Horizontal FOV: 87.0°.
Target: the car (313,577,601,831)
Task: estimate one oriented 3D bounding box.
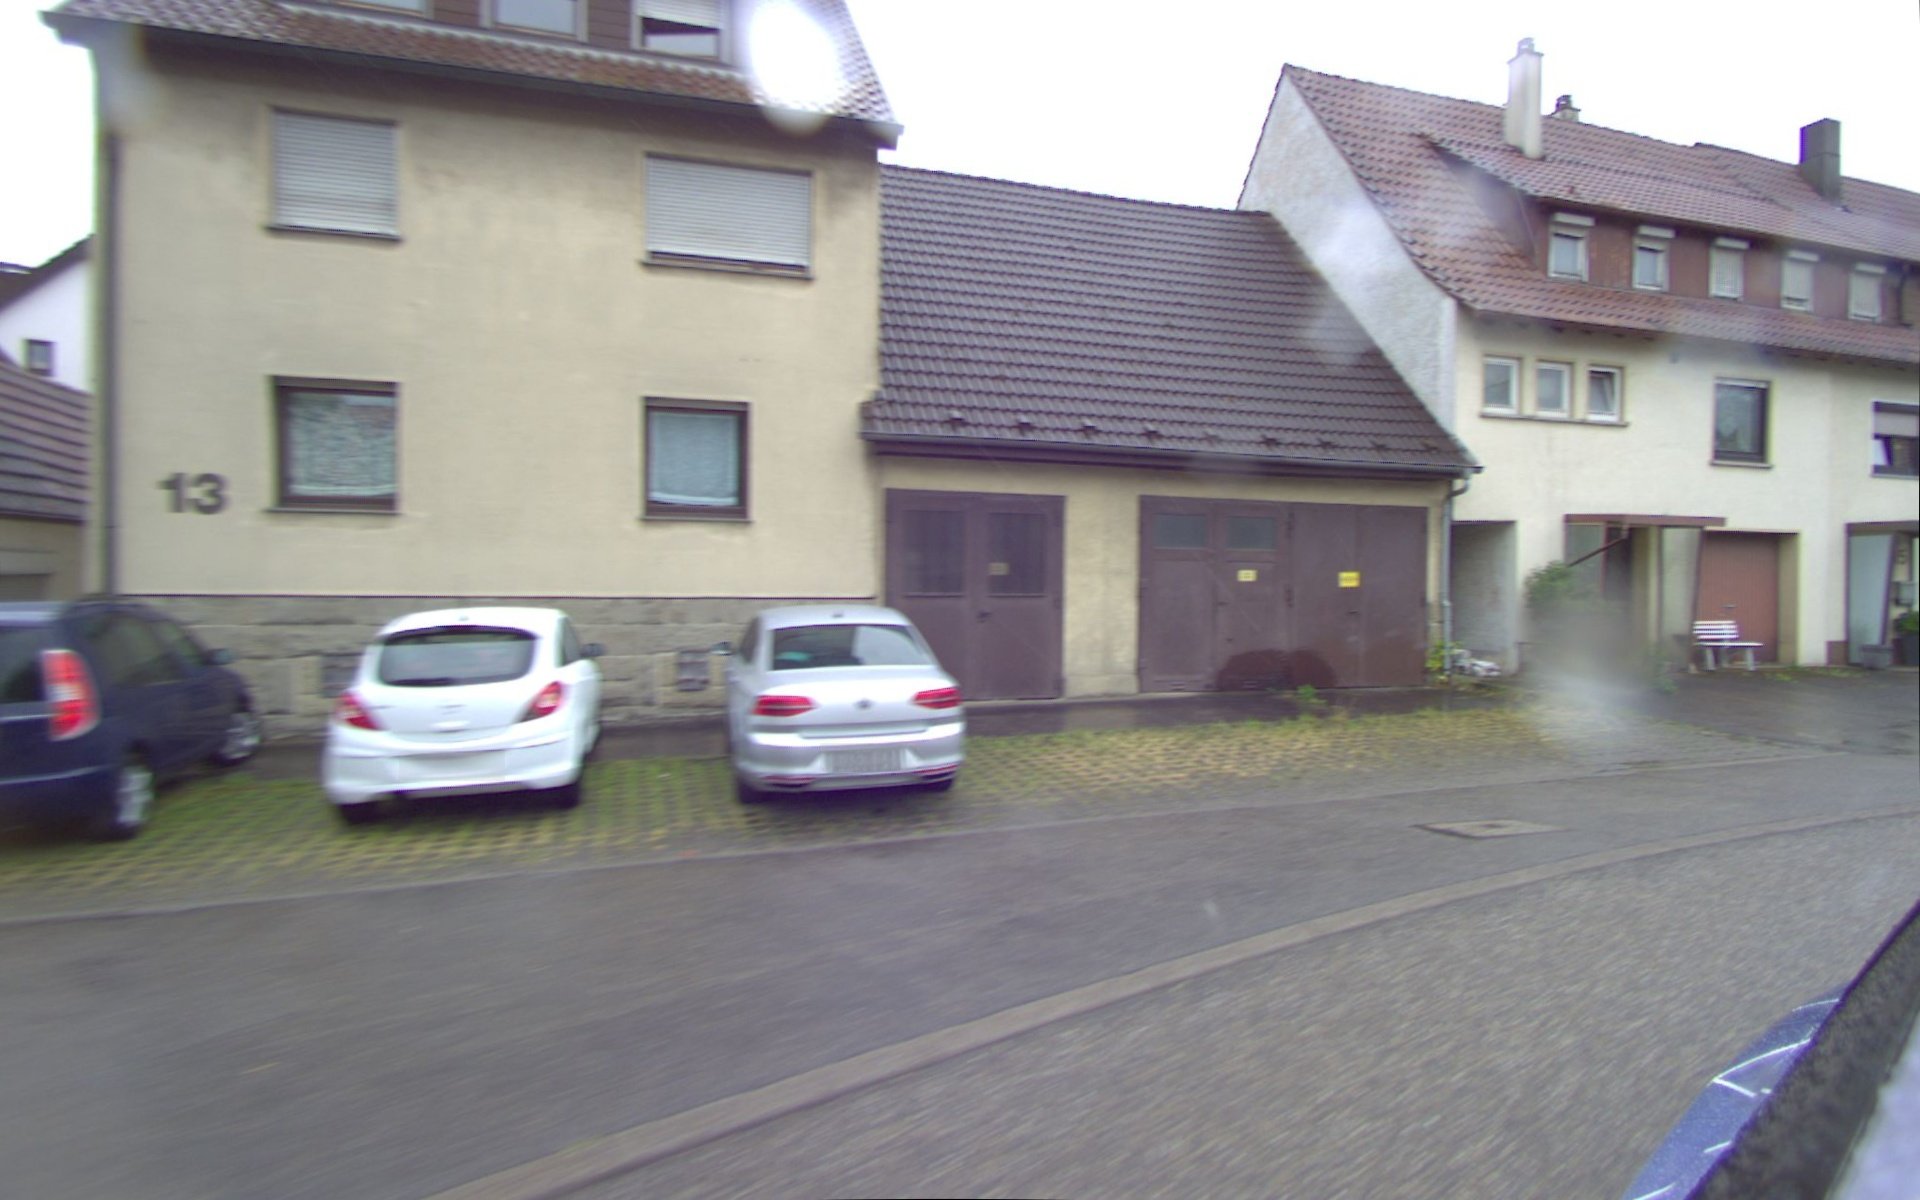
[{"bbox_3d":[-3.982,0.648,8.563,1.683,1.548,3.441,-1,4,-18],"label":"car"}]

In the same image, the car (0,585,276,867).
[{"bbox_3d":[-6.895,0.755,7.876,1.712,1.602,4.009,-2,3,-21],"label":"car"}]

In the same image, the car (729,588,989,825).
[{"bbox_3d":[-1.158,0.691,9.231,1.783,1.432,4.639,0,3,-12],"label":"car"}]
